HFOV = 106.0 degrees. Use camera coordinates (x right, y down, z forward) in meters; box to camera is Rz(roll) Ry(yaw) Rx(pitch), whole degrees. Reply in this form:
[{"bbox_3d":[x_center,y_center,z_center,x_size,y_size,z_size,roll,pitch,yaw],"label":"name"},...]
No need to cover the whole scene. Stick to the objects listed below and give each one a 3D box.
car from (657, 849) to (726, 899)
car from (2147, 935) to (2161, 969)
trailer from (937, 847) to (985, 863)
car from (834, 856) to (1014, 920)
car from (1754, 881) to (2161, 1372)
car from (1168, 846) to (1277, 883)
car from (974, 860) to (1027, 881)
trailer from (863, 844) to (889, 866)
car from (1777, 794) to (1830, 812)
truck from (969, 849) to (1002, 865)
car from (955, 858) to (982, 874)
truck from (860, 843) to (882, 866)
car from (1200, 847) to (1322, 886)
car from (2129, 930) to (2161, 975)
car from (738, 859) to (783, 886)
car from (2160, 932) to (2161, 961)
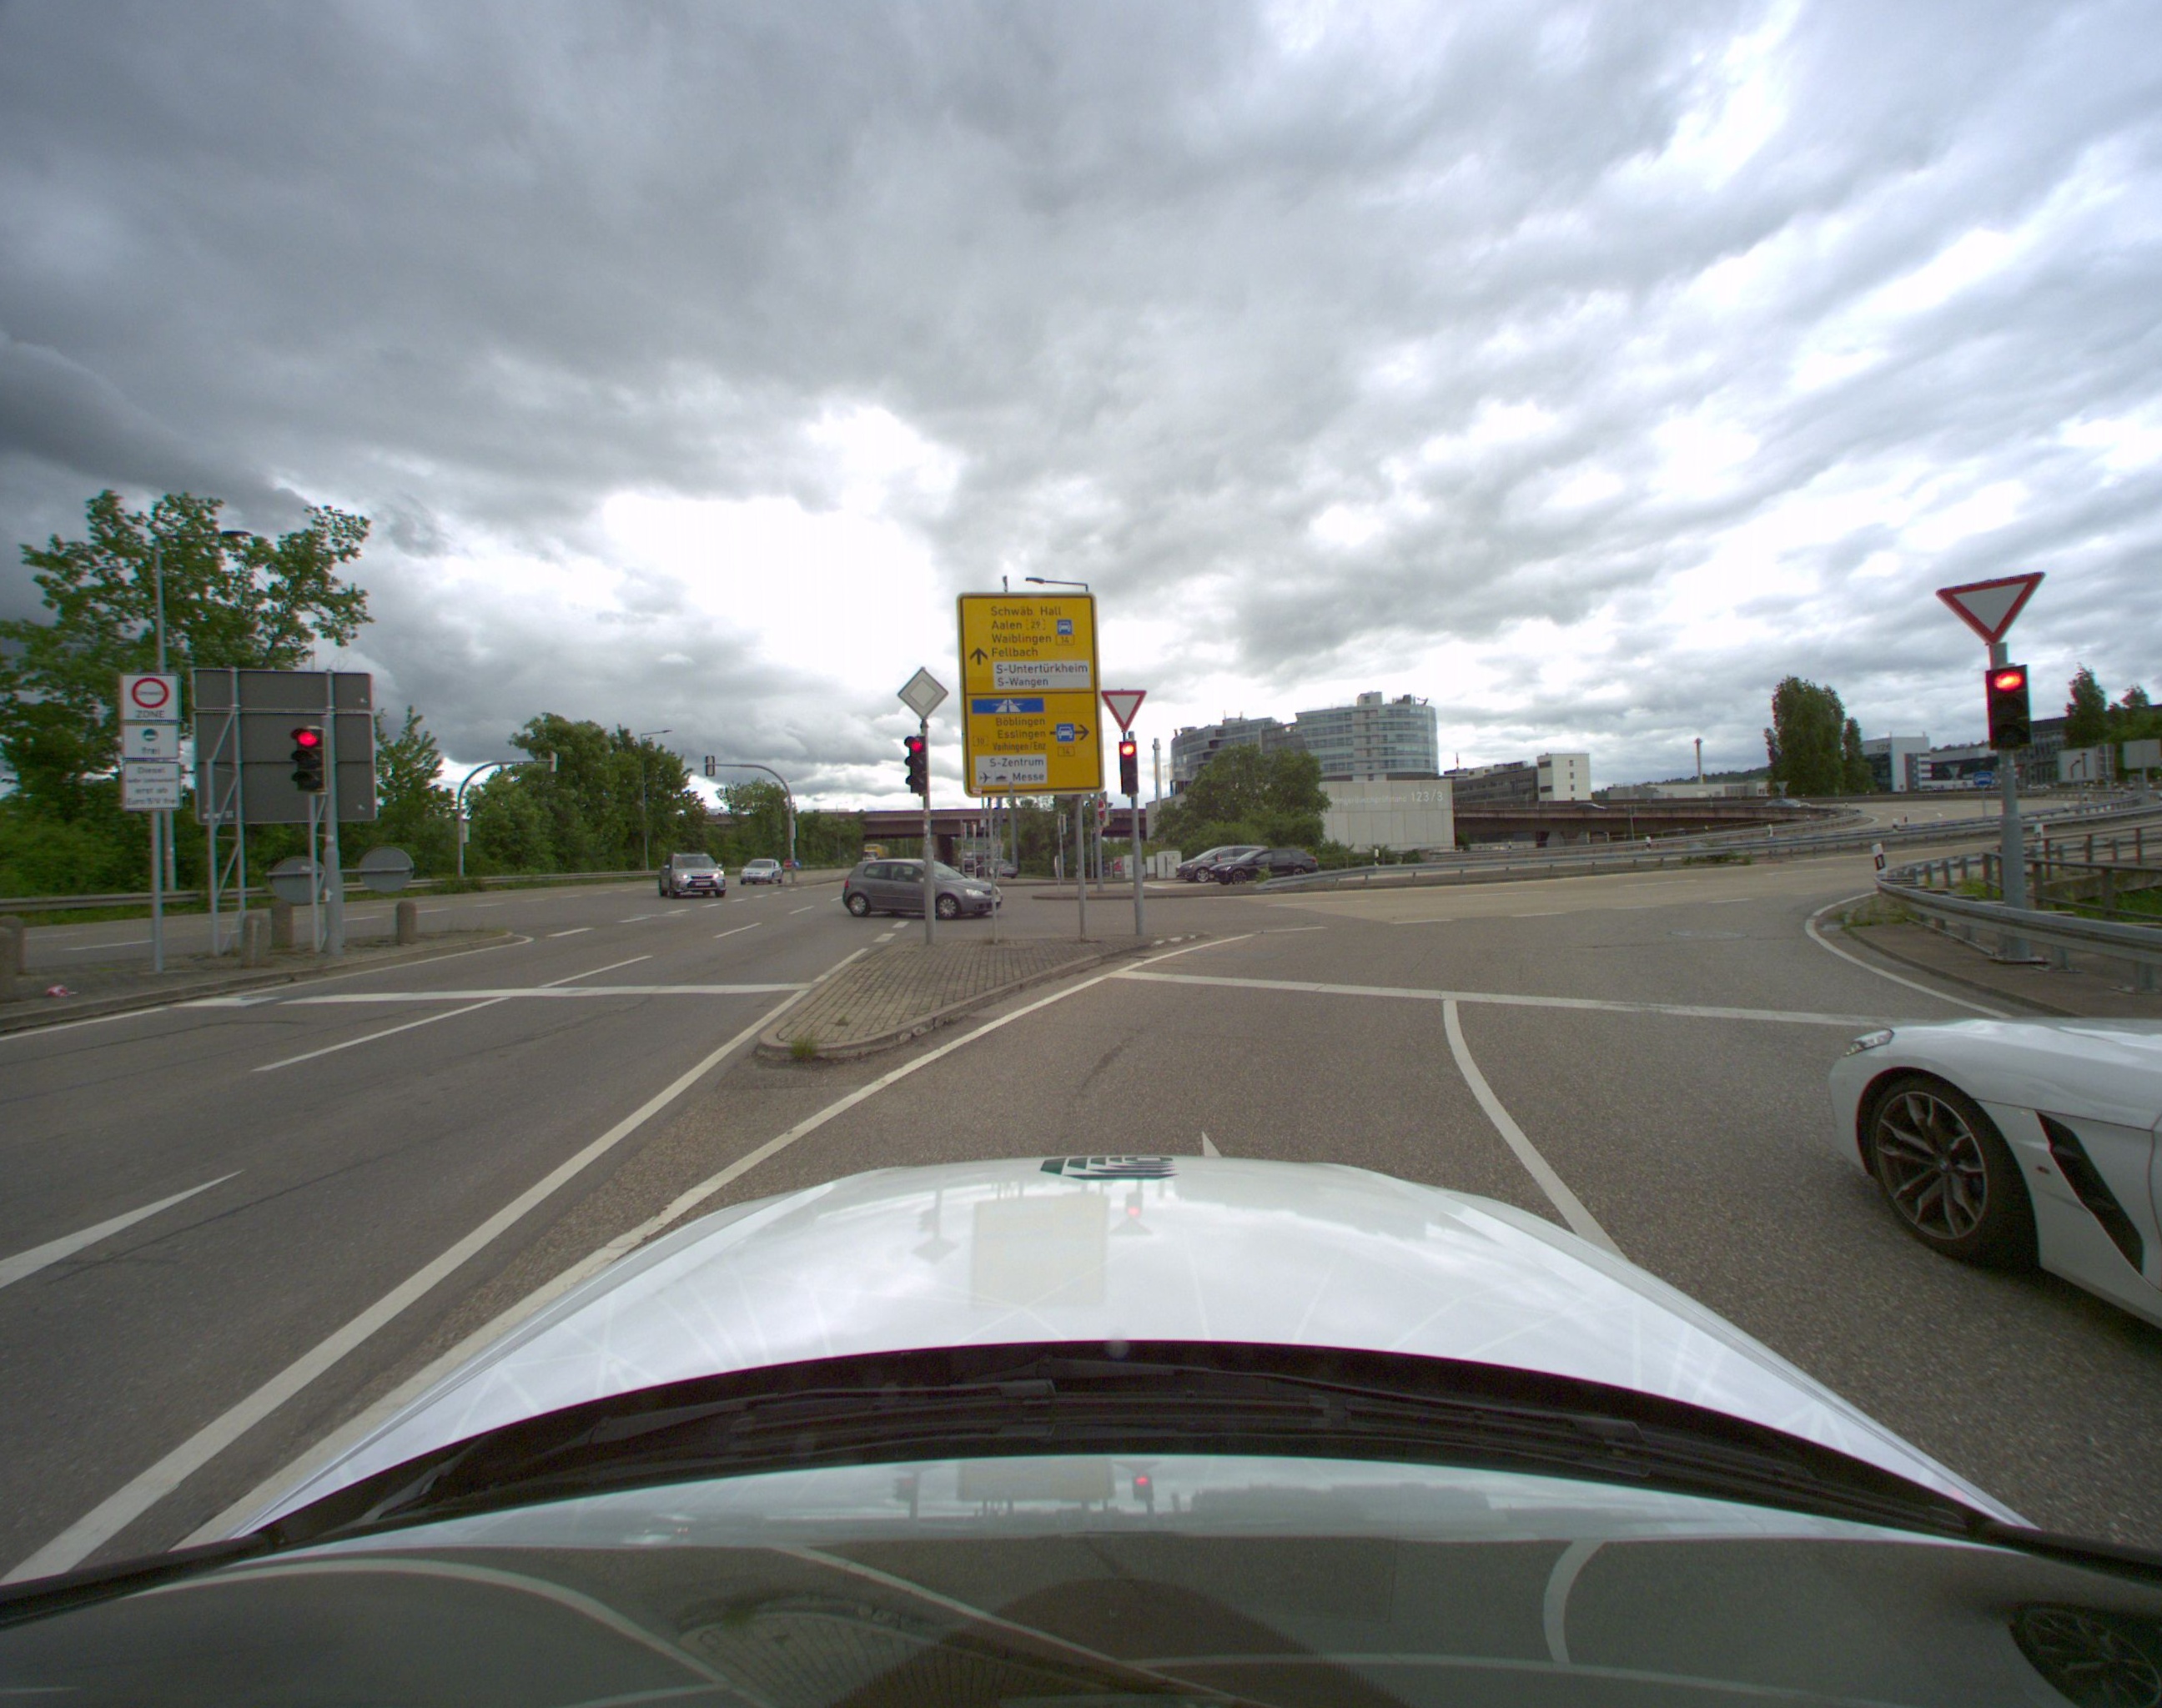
[{"bbox_3d":[-14.892,0.721,31.011,1.737,1.737,4.508,-2,0,-34],"label":"car"},{"bbox_3d":[50.825,4.534,36.218,1.828,1.354,3.835,-3,1,-22],"label":"car"},{"bbox_3d":[-22.088,0.200,150.061,8.548,2.624,2.599,3,0,-13],"label":"trailer"},{"bbox_3d":[-3.976,0.805,20.649,4.193,1.461,1.739,0,1,22],"label":"car"},{"bbox_3d":[3.818,0.792,1.741,1.794,1.291,4.275,0,0,10],"label":"car"},{"bbox_3d":[6.602,0.478,38.195,4.679,1.571,1.949,-1,1,-10],"label":"car"},{"bbox_3d":[-5.870,1.236,59.067,2.009,1.442,4.064,1,-2,-37],"label":"car"},{"bbox_3d":[-39.329,0.118,156.473,2.867,4.084,11.408,1,0,-4],"label":"trailer"},{"bbox_3d":[80.450,-5.651,90.758,1.900,1.662,4.753,2,1,4],"label":"car"},{"bbox_3d":[-17.782,0.528,151.065,5.766,2.624,2.609,3,0,-13],"label":"truck"},{"bbox_3d":[-10.409,1.121,75.073,1.997,1.464,4.088,0,-2,-15],"label":"car"},{"bbox_3d":[-38.940,0.133,151.185,2.867,4.084,6.477,1,0,-5],"label":"truck"},{"bbox_3d":[7.537,0.487,34.252,4.608,1.457,1.948,-1,1,-12],"label":"car"},{"bbox_3d":[48.697,4.418,35.189,1.828,1.760,3.835,-3,1,-22],"label":"car"},{"bbox_3d":[-18.411,1.018,46.921,1.726,1.400,4.050,-2,0,-12],"label":"car"},{"bbox_3d":[53.000,4.360,37.389,1.828,1.354,3.835,-3,1,-22],"label":"car"}]
